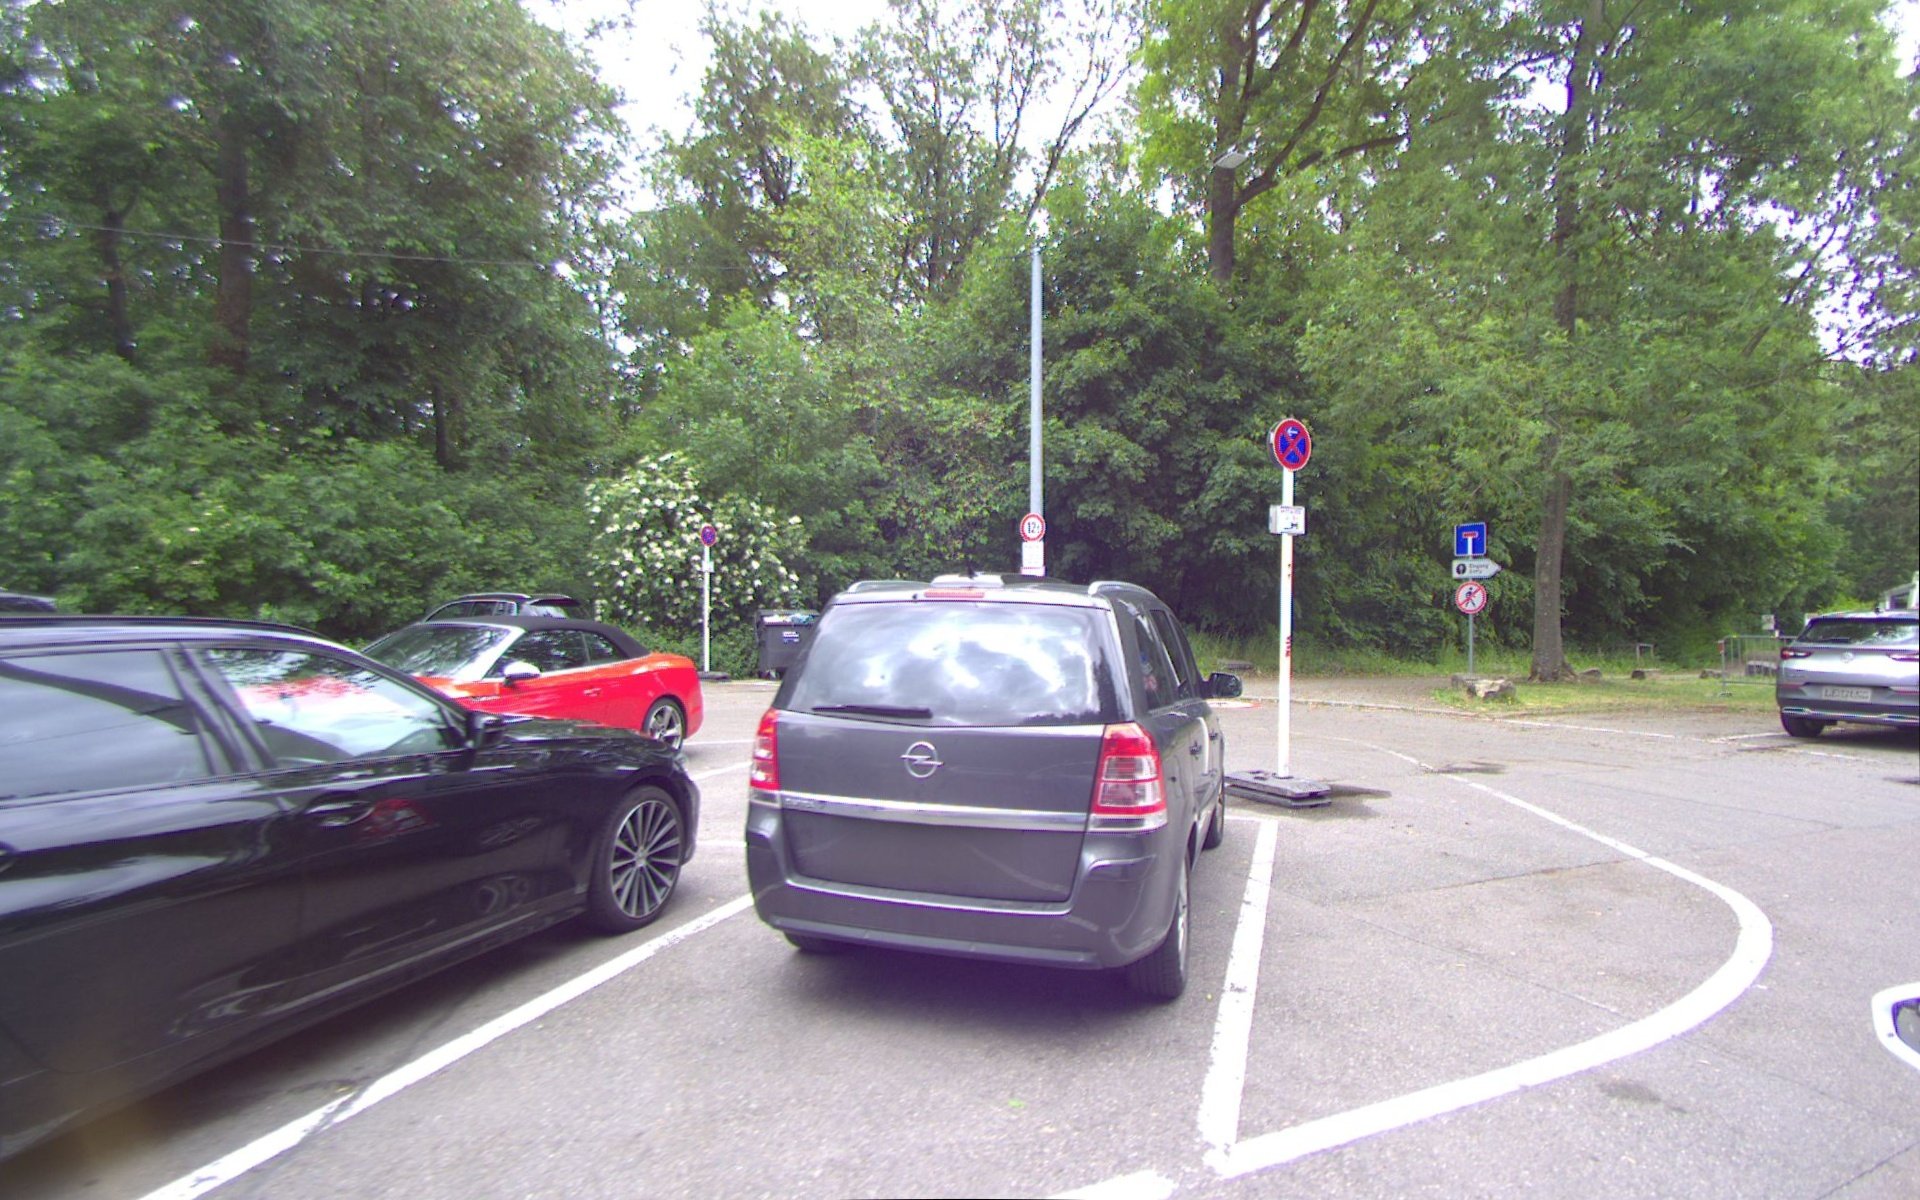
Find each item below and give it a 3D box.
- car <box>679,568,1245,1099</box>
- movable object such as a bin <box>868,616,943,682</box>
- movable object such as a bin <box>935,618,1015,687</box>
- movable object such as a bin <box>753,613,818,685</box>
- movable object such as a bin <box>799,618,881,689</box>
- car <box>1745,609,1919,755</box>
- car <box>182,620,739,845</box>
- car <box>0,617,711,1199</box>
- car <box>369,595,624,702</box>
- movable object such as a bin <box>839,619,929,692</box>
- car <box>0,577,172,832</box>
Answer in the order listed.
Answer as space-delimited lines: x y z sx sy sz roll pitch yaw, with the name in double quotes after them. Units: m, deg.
0.517 0.741 5.461 1.793 1.630 4.388 0 -1 18 "car"
-1.161 1.022 21.252 1.225 1.337 1.118 1 -1 -30 "movable object such as a bin"
0.311 1.060 20.791 1.136 1.342 1.244 1 -1 -37 "movable object such as a bin"
-3.638 1.000 20.858 1.114 1.444 1.121 1 -1 -22 "movable object such as a bin"
-2.372 1.026 19.840 1.108 1.332 1.181 0 -1 35 "movable object such as a bin"
12.035 0.922 12.577 3.944 1.606 1.888 0 -1 -24 "car"
-3.887 0.896 8.803 1.734 1.412 4.392 0 -1 20 "car"
-2.738 0.802 3.319 1.725 1.462 4.279 0 -1 18 "car"
-8.110 0.783 17.598 3.992 1.707 1.784 0 0 21 "car"
-1.434 1.027 19.125 1.153 1.324 1.309 0 -1 35 "movable object such as a bin"
-7.506 0.671 6.039 1.861 1.685 4.001 0 -1 18 "car"
